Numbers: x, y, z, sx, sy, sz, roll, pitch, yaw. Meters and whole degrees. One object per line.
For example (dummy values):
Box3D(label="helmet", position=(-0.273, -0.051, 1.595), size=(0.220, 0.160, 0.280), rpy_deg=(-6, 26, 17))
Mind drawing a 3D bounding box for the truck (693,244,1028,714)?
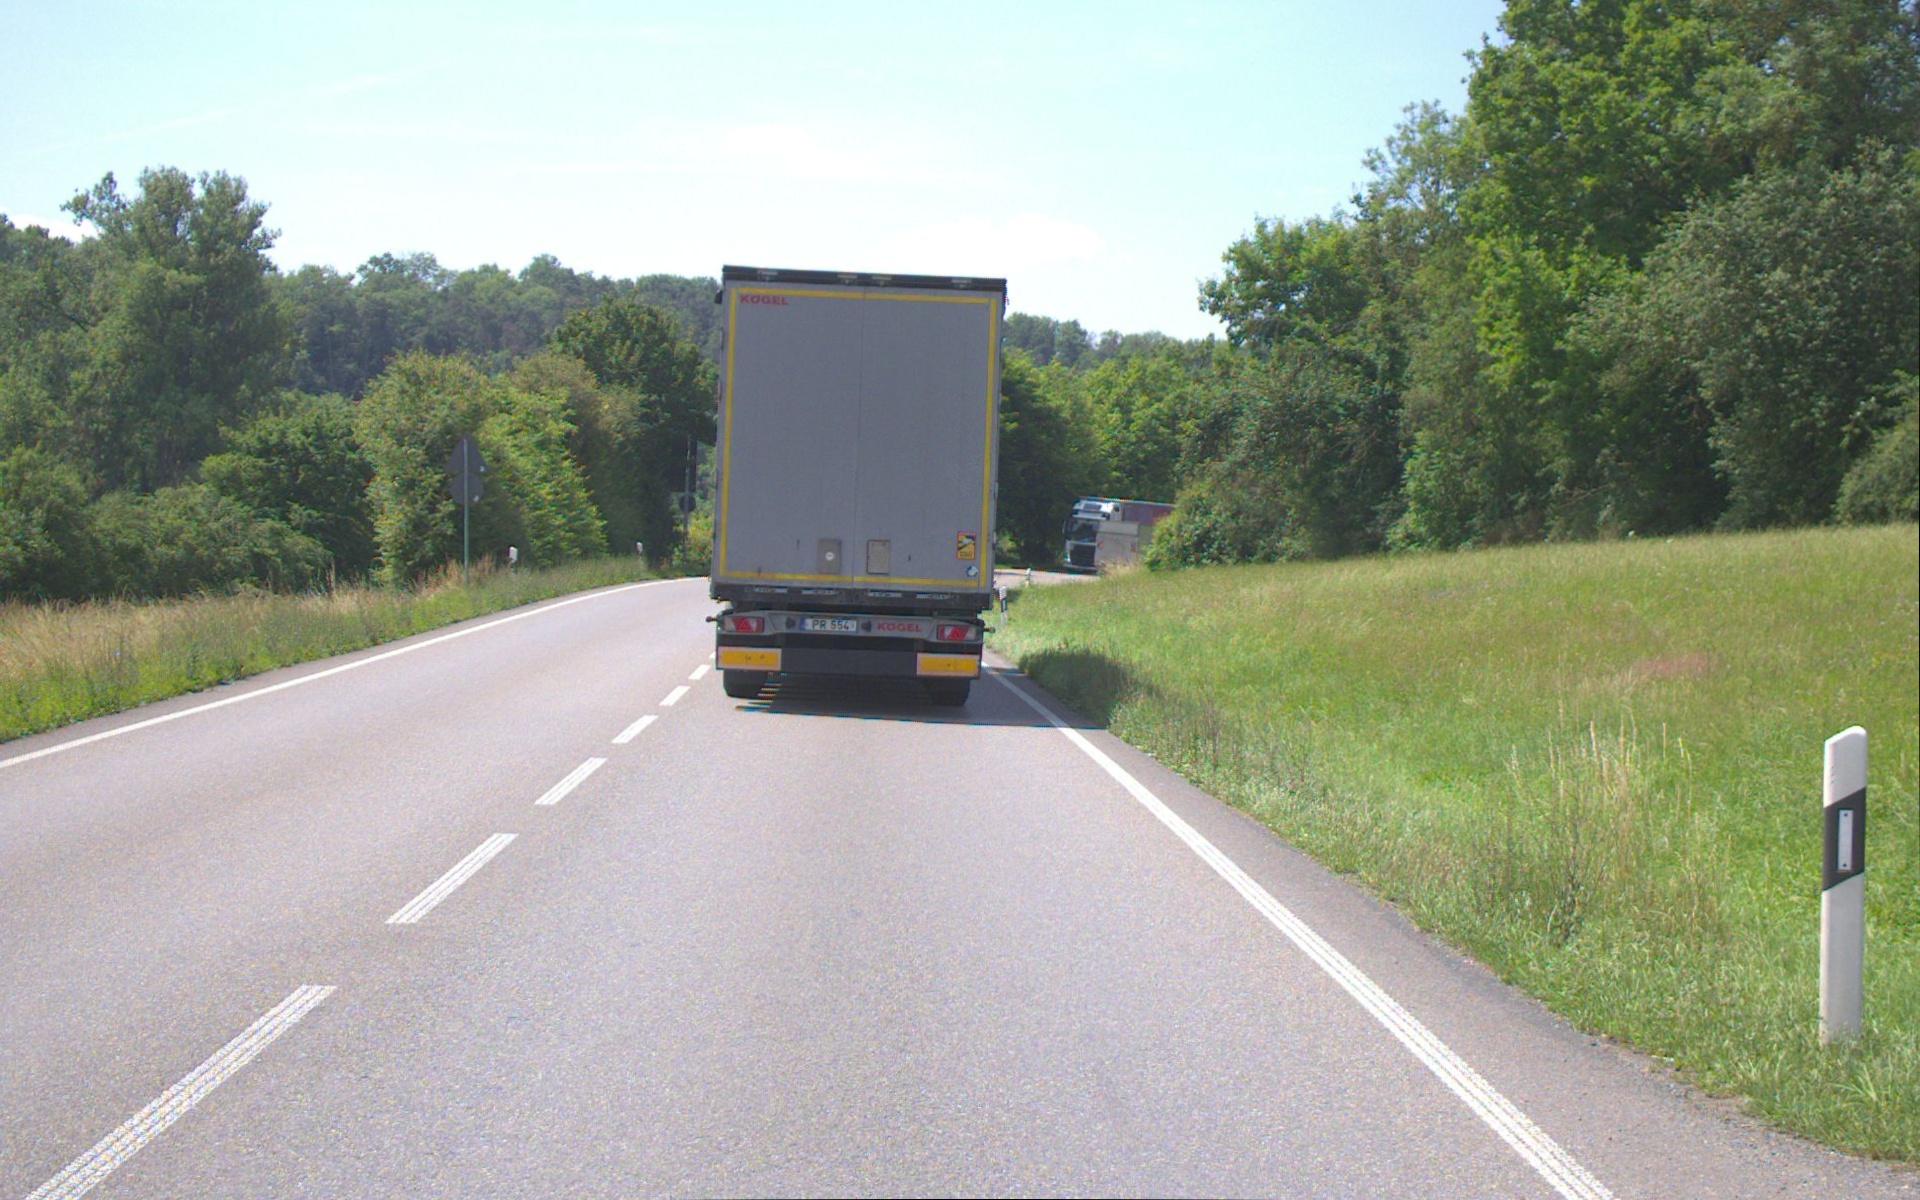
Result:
Box3D(label="truck", position=(-1.246, -1.191, 38.184), size=(2.801, 4.054, 15.327), rpy_deg=(2, 1, -3))

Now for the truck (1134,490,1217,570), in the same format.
Box3D(label="truck", position=(12.358, -3.903, 196.079), size=(3.305, 4.371, 13.406), rpy_deg=(-1, 0, 10))

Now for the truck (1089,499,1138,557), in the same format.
Box3D(label="truck", position=(7.708, -3.623, 172.644), size=(2.354, 2.816, 5.058), rpy_deg=(-2, 1, 3))
